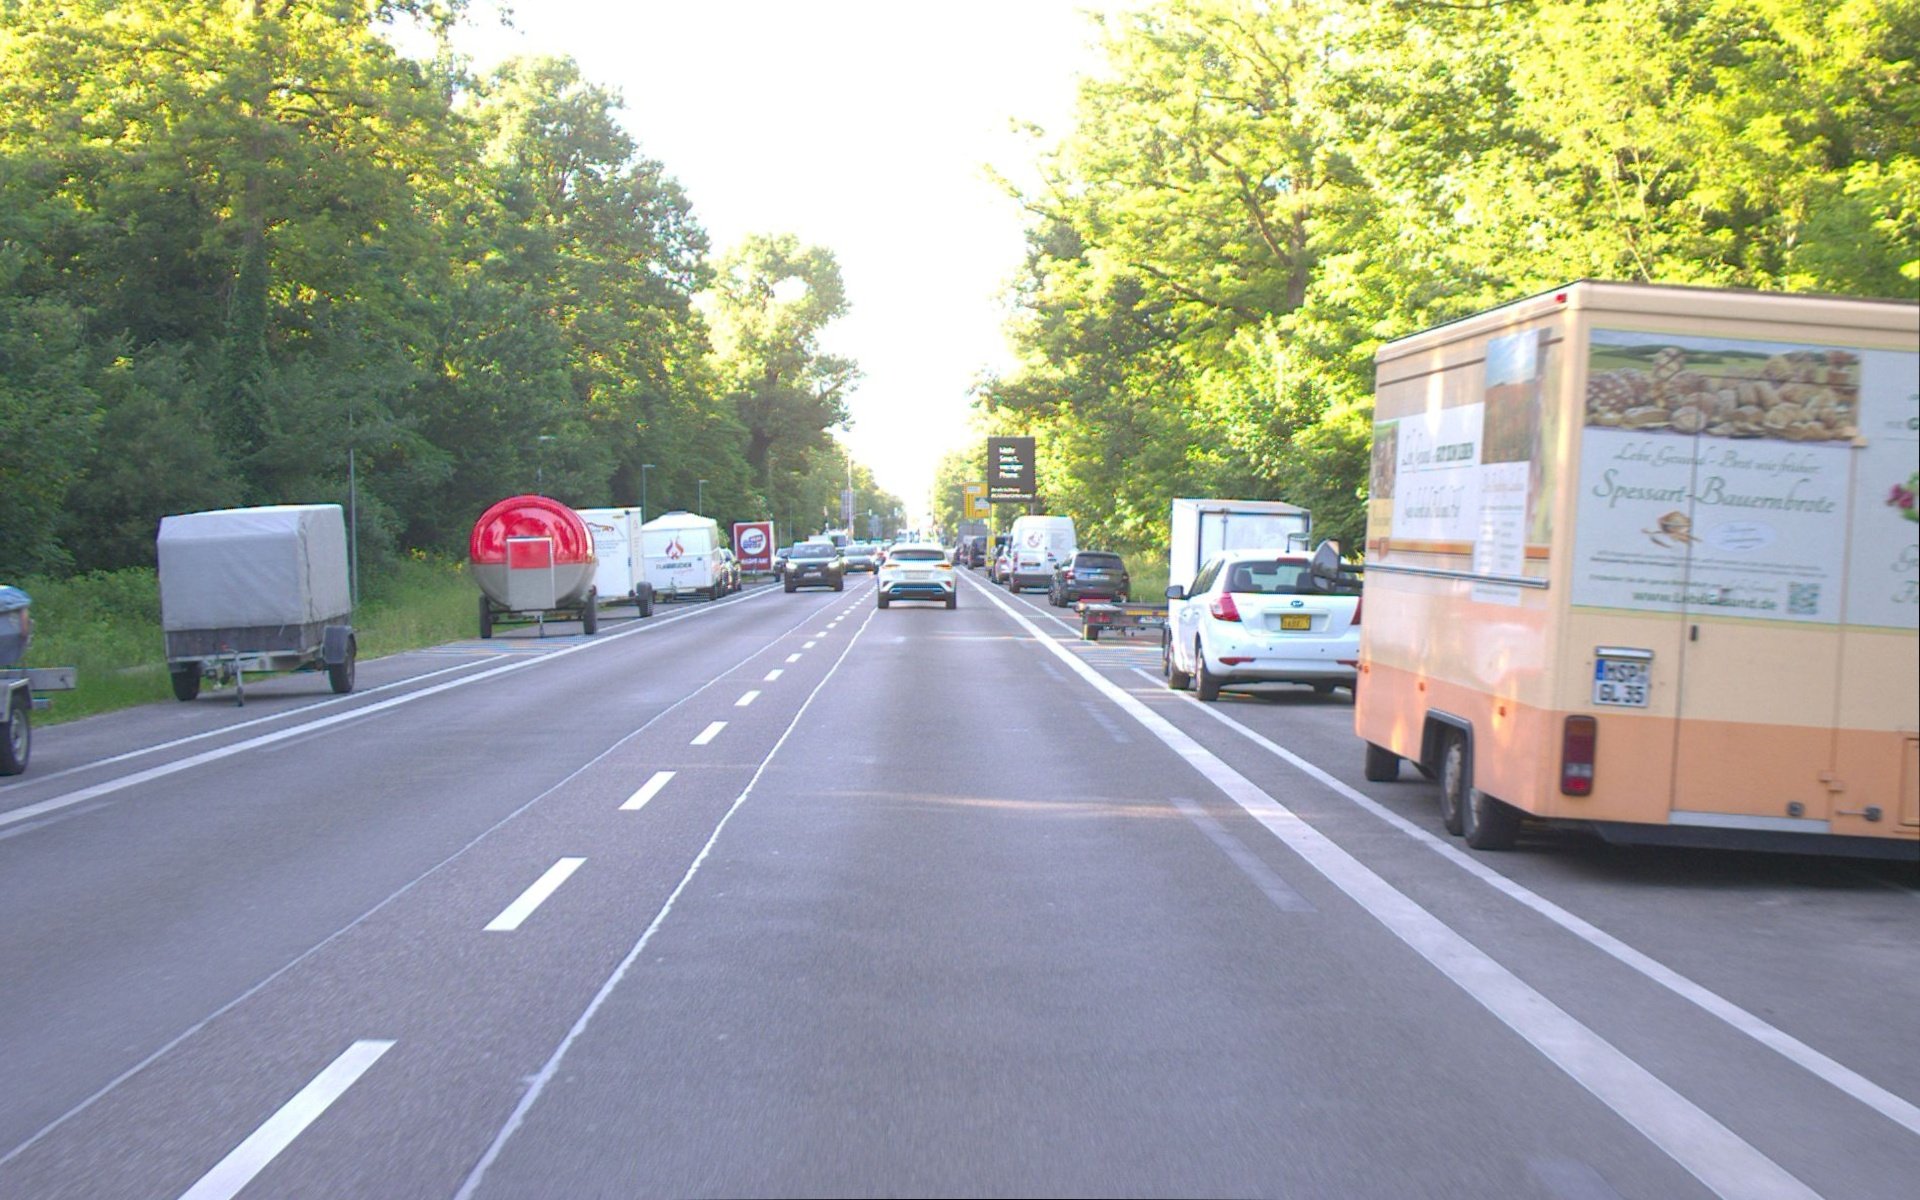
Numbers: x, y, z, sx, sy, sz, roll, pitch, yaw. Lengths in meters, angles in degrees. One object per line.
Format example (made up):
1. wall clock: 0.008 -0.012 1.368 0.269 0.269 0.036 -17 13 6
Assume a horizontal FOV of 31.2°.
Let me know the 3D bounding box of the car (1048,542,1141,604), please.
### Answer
1. car: 3.326 -0.699 85.967 1.834 1.416 4.598 3 1 -3

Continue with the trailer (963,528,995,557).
1. trailer: 1.422 -4.243 252.151 1.616 2.105 2.394 1 1 20

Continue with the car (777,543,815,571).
1. car: -8.843 -2.327 185.824 1.855 1.459 4.784 0 1 0

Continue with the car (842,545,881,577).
1. car: -4.880 -1.931 170.091 1.819 1.527 4.530 -1 1 -1

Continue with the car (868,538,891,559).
1. car: -5.874 -3.759 250.645 1.604 1.416 3.519 -2 1 -1

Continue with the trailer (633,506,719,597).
1. trailer: -8.131 -1.396 98.769 2.345 2.520 4.345 -1 1 -4

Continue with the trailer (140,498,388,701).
1. trailer: -7.474 -0.037 37.228 1.853 2.007 3.561 -3 1 0

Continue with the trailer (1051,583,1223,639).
1. trailer: 2.775 0.149 55.285 2.432 0.796 5.660 1 1 0

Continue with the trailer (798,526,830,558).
1. trailer: -10.750 -4.268 253.194 2.075 2.285 3.486 -1 1 1

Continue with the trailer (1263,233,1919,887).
1. trailer: 3.866 -0.200 20.243 2.921 2.831 9.884 3 1 -2

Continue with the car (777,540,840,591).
1. car: -4.888 -1.129 111.146 1.818 1.581 4.459 -1 1 0

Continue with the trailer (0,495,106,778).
1. trailer: -7.687 0.243 23.028 2.428 1.908 6.264 0 1 -1

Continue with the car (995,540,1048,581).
1. car: 2.311 -1.500 130.363 1.734 1.482 4.401 2 1 -2

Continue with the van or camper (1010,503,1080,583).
1. van or camper: 2.670 -1.811 109.809 2.125 2.474 6.305 0 1 0

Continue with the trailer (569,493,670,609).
1. trailer: -7.449 -1.080 75.521 2.066 2.472 3.561 -1 1 -4

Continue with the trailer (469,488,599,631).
1. trailer: -7.591 -0.736 61.570 2.066 2.472 3.561 -1 1 -4

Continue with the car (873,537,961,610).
1. car: -0.994 -0.633 80.185 1.993 1.634 4.000 0 1 0

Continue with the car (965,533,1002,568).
1. car: 1.410 -2.988 207.765 2.113 2.007 5.040 2 1 0

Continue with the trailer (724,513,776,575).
1. trailer: -8.975 -2.397 147.106 1.993 2.612 4.086 0 1 0

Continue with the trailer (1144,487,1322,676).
1. trailer: 3.218 -0.247 41.074 1.754 2.154 3.540 0 1 -2

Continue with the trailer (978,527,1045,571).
1. trailer: 2.388 -2.365 158.163 1.964 2.016 3.840 0 1 19

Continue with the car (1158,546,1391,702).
1. car: 3.133 0.196 35.094 1.887 1.463 4.570 1 1 -1
